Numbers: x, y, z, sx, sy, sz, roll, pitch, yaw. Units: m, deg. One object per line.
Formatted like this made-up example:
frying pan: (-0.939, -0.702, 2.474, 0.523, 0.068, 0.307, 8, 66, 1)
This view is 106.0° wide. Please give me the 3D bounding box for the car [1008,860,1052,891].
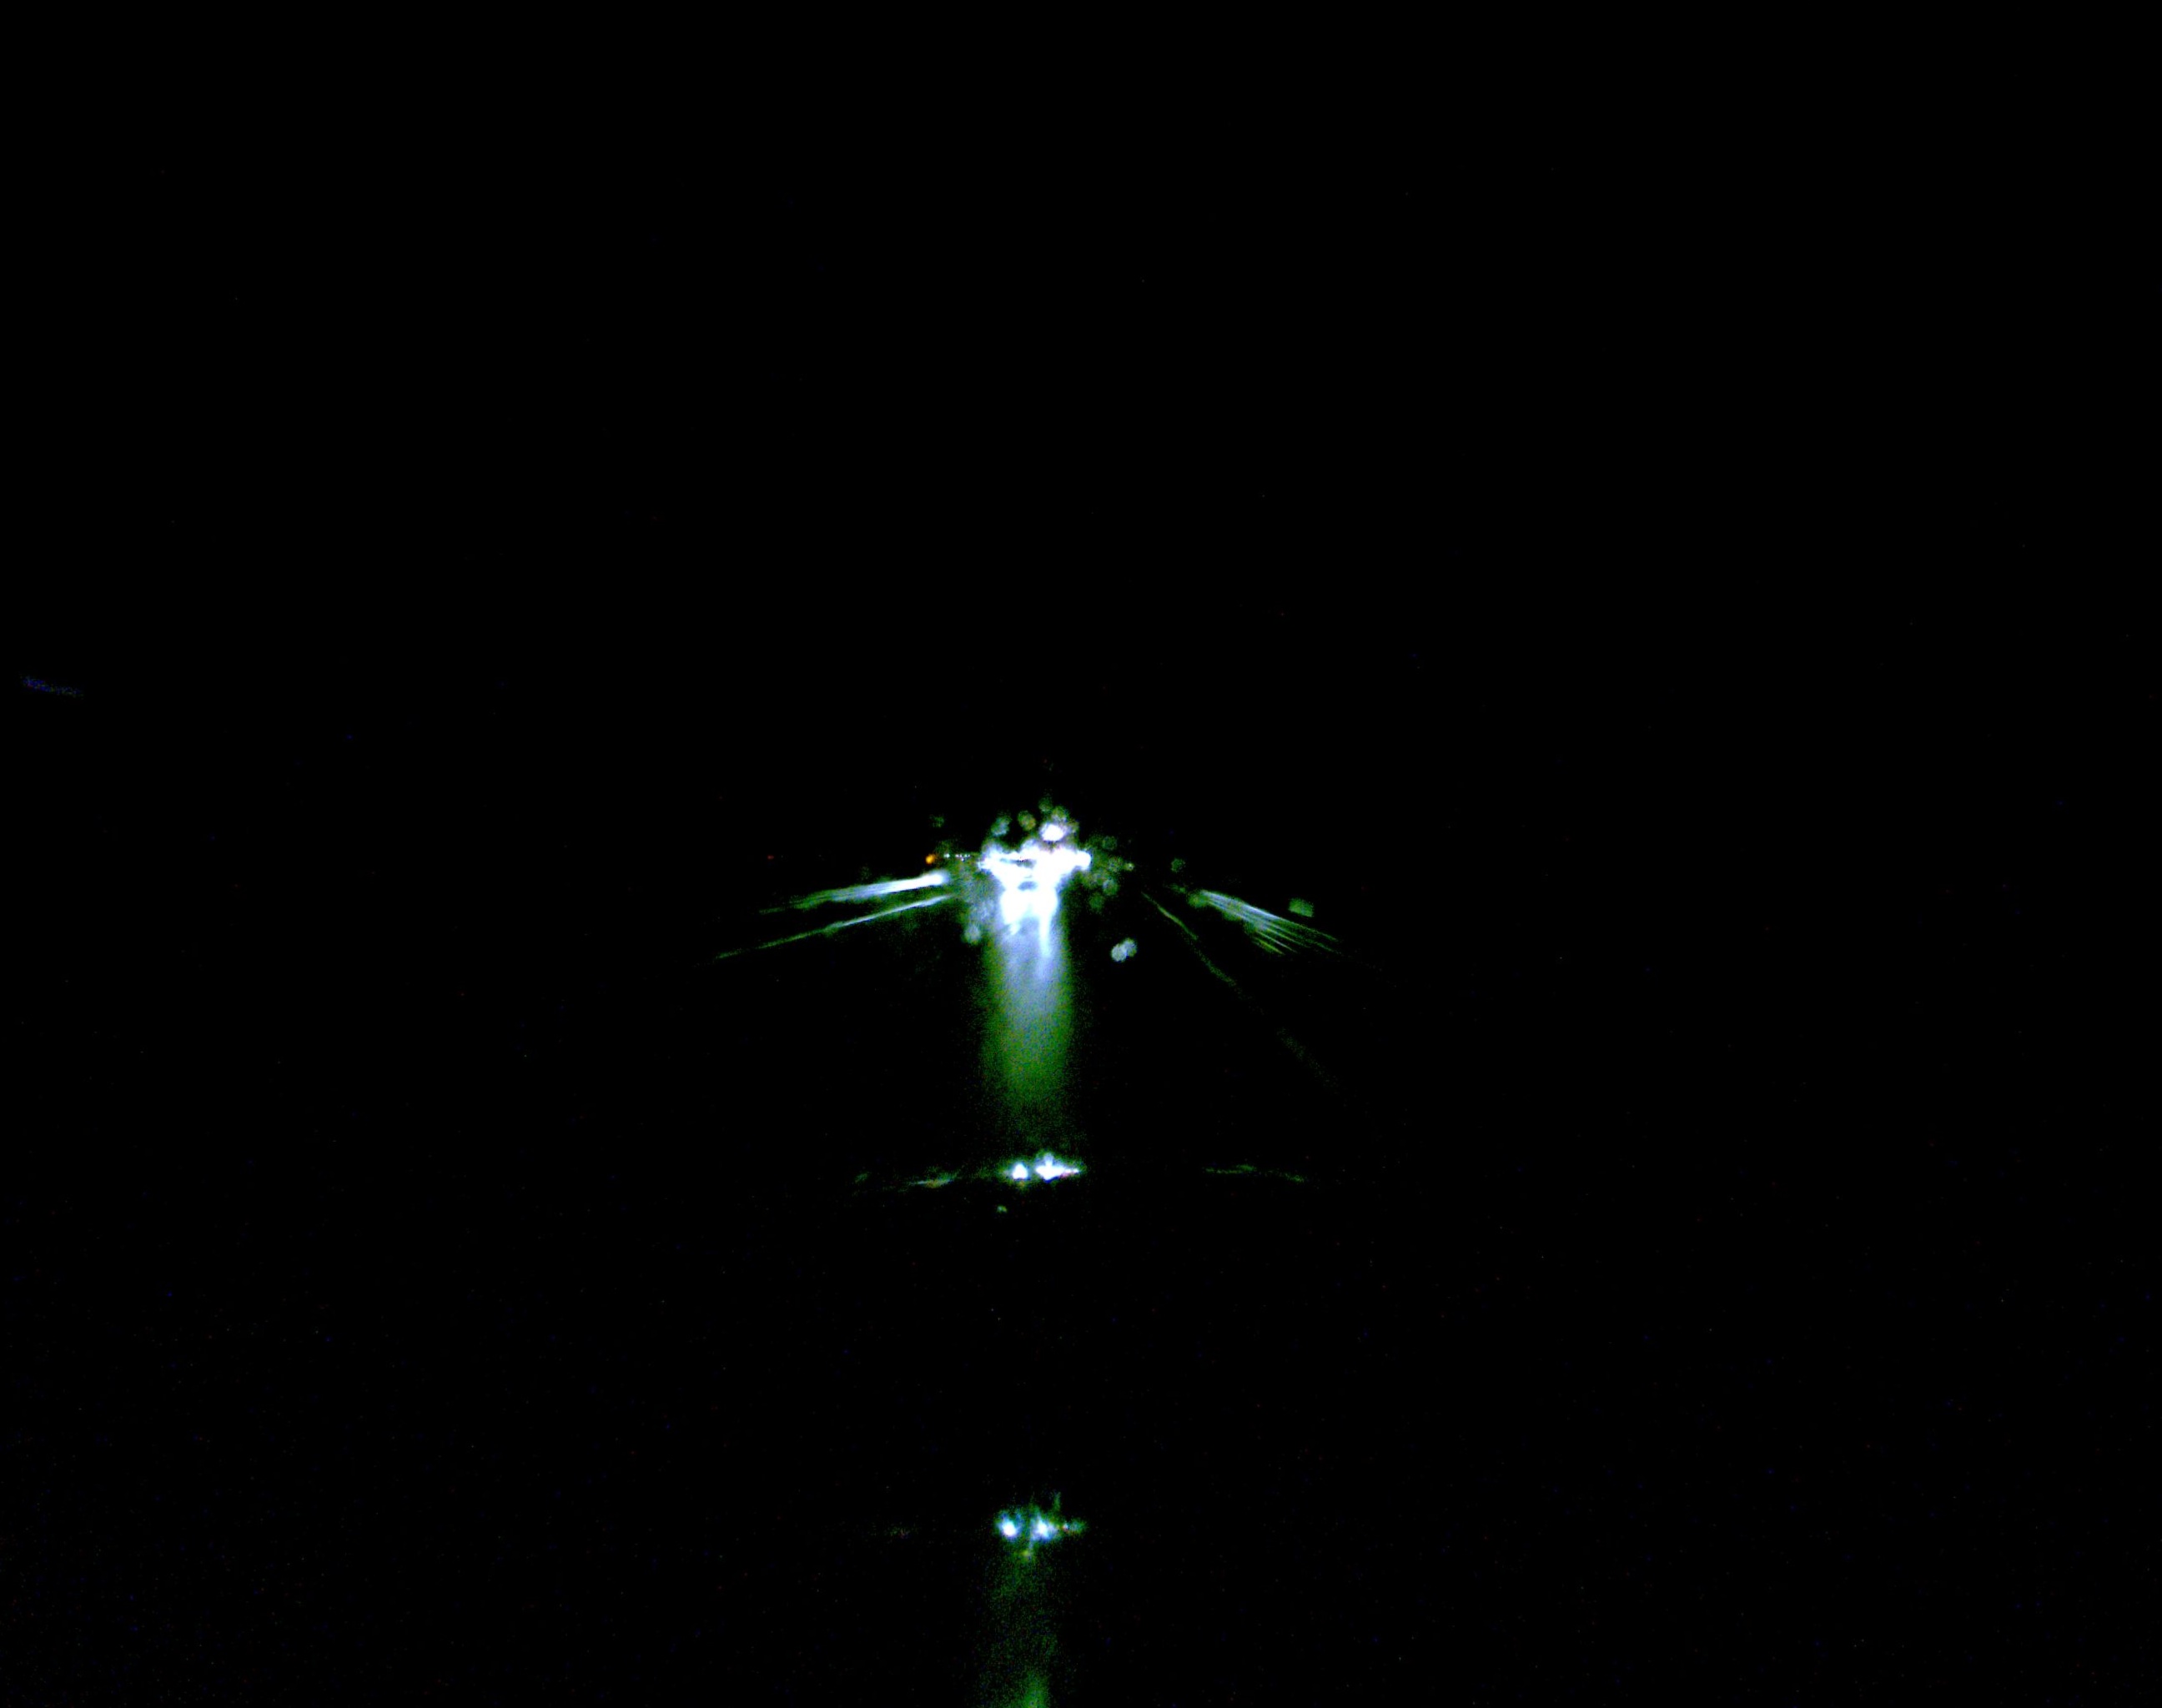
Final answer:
car: (-2.584, 1.078, 41.852, 1.862, 1.448, 4.394, -1, 0, 1)
